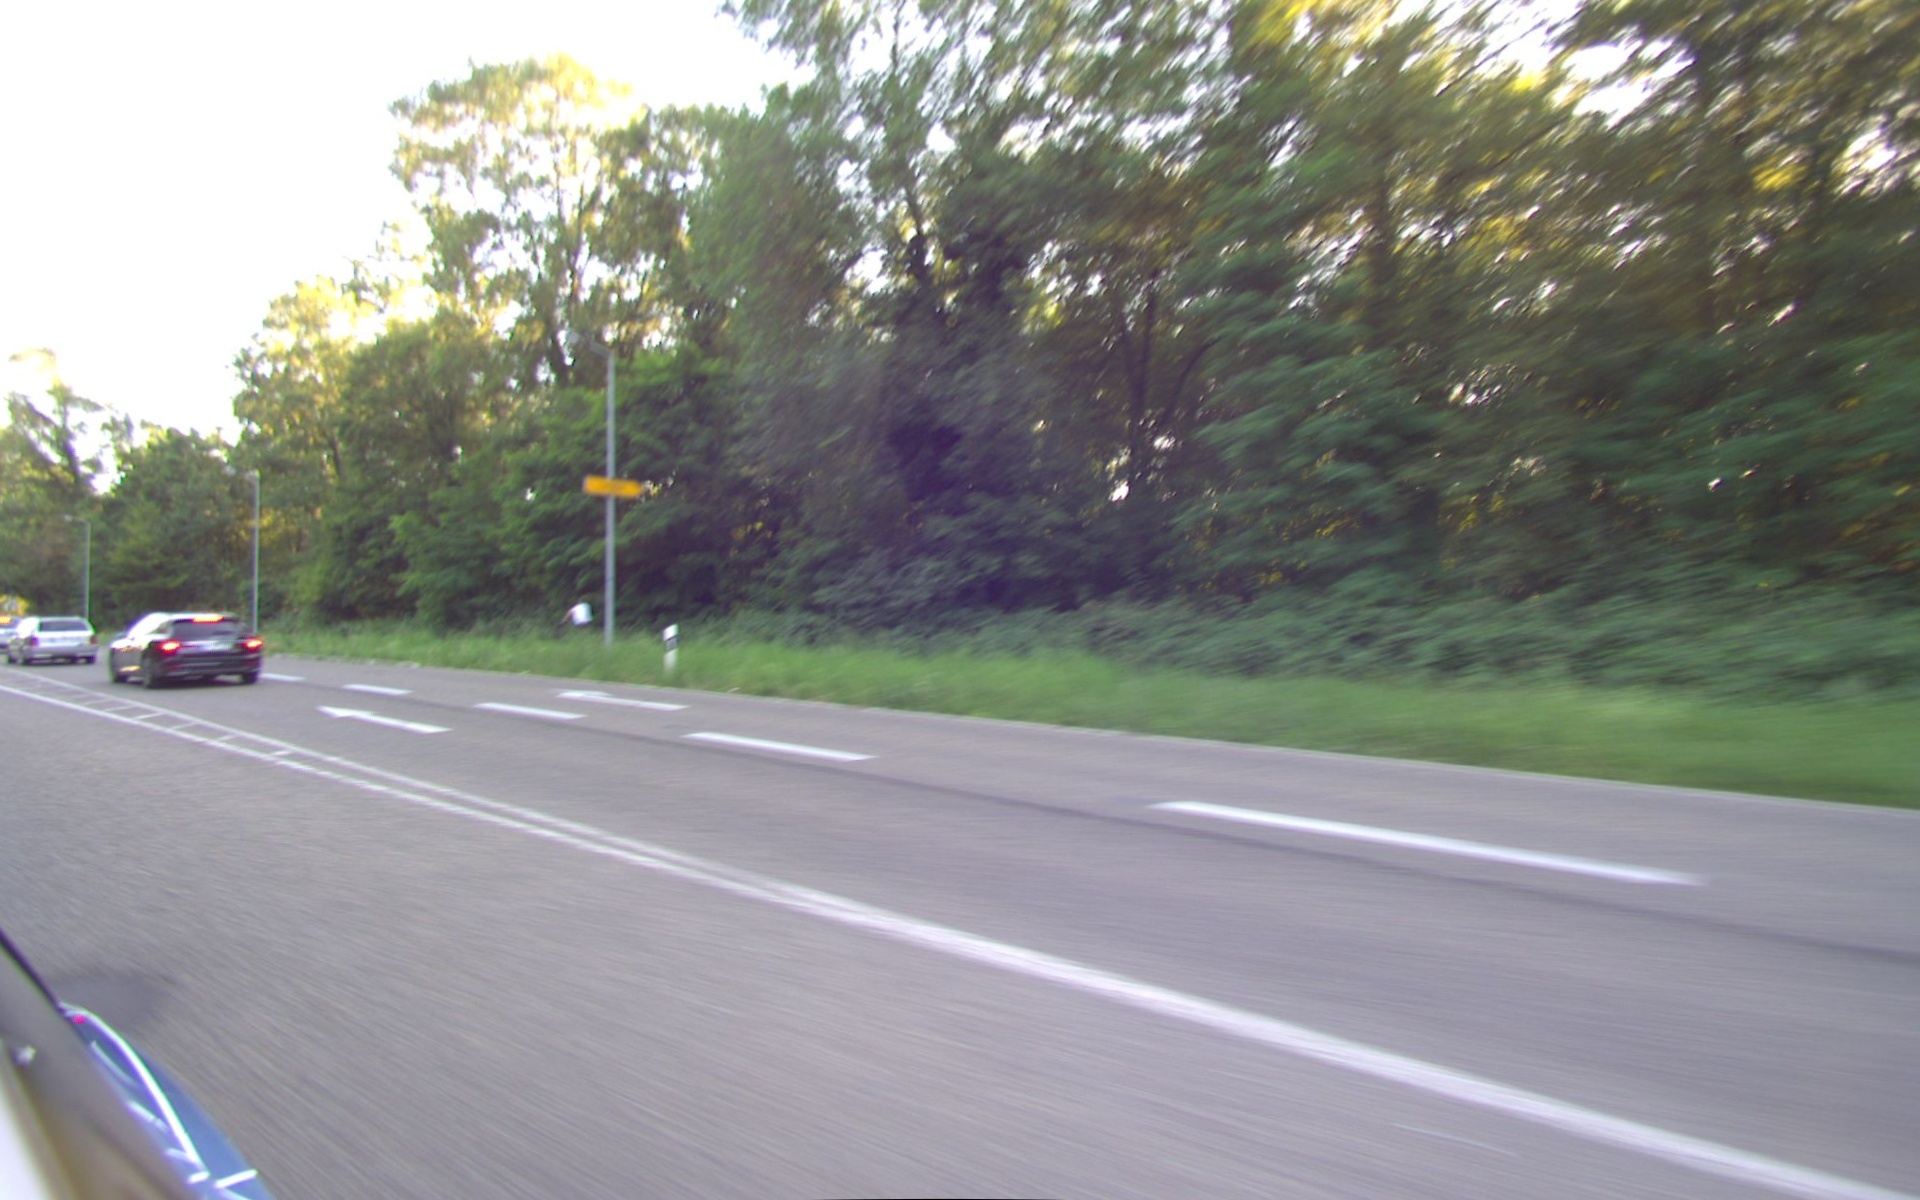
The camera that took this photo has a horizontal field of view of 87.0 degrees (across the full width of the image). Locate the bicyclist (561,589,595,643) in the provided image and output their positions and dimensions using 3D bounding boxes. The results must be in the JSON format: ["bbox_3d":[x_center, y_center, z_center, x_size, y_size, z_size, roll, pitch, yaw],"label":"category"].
[{"bbox_3d":[-11.097,0.475,29.407,0.847,1.523,0.613,-3,-3,43],"label":"bicyclist"}]

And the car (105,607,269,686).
[{"bbox_3d":[-16.203,0.899,21.109,4.768,1.451,1.872,-1,0,42],"label":"car"}]

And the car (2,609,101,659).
[{"bbox_3d":[-27.412,1.013,30.483,4.372,1.408,1.702,-1,-2,41],"label":"car"}]

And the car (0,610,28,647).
[{"bbox_3d":[-39.266,1.144,41.035,4.170,1.457,1.698,-1,-2,41],"label":"car"}]

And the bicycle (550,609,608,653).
[{"bbox_3d":[-11.069,0.900,29.370,2.261,1.227,0.623,-2,-3,43],"label":"bicycle"}]
